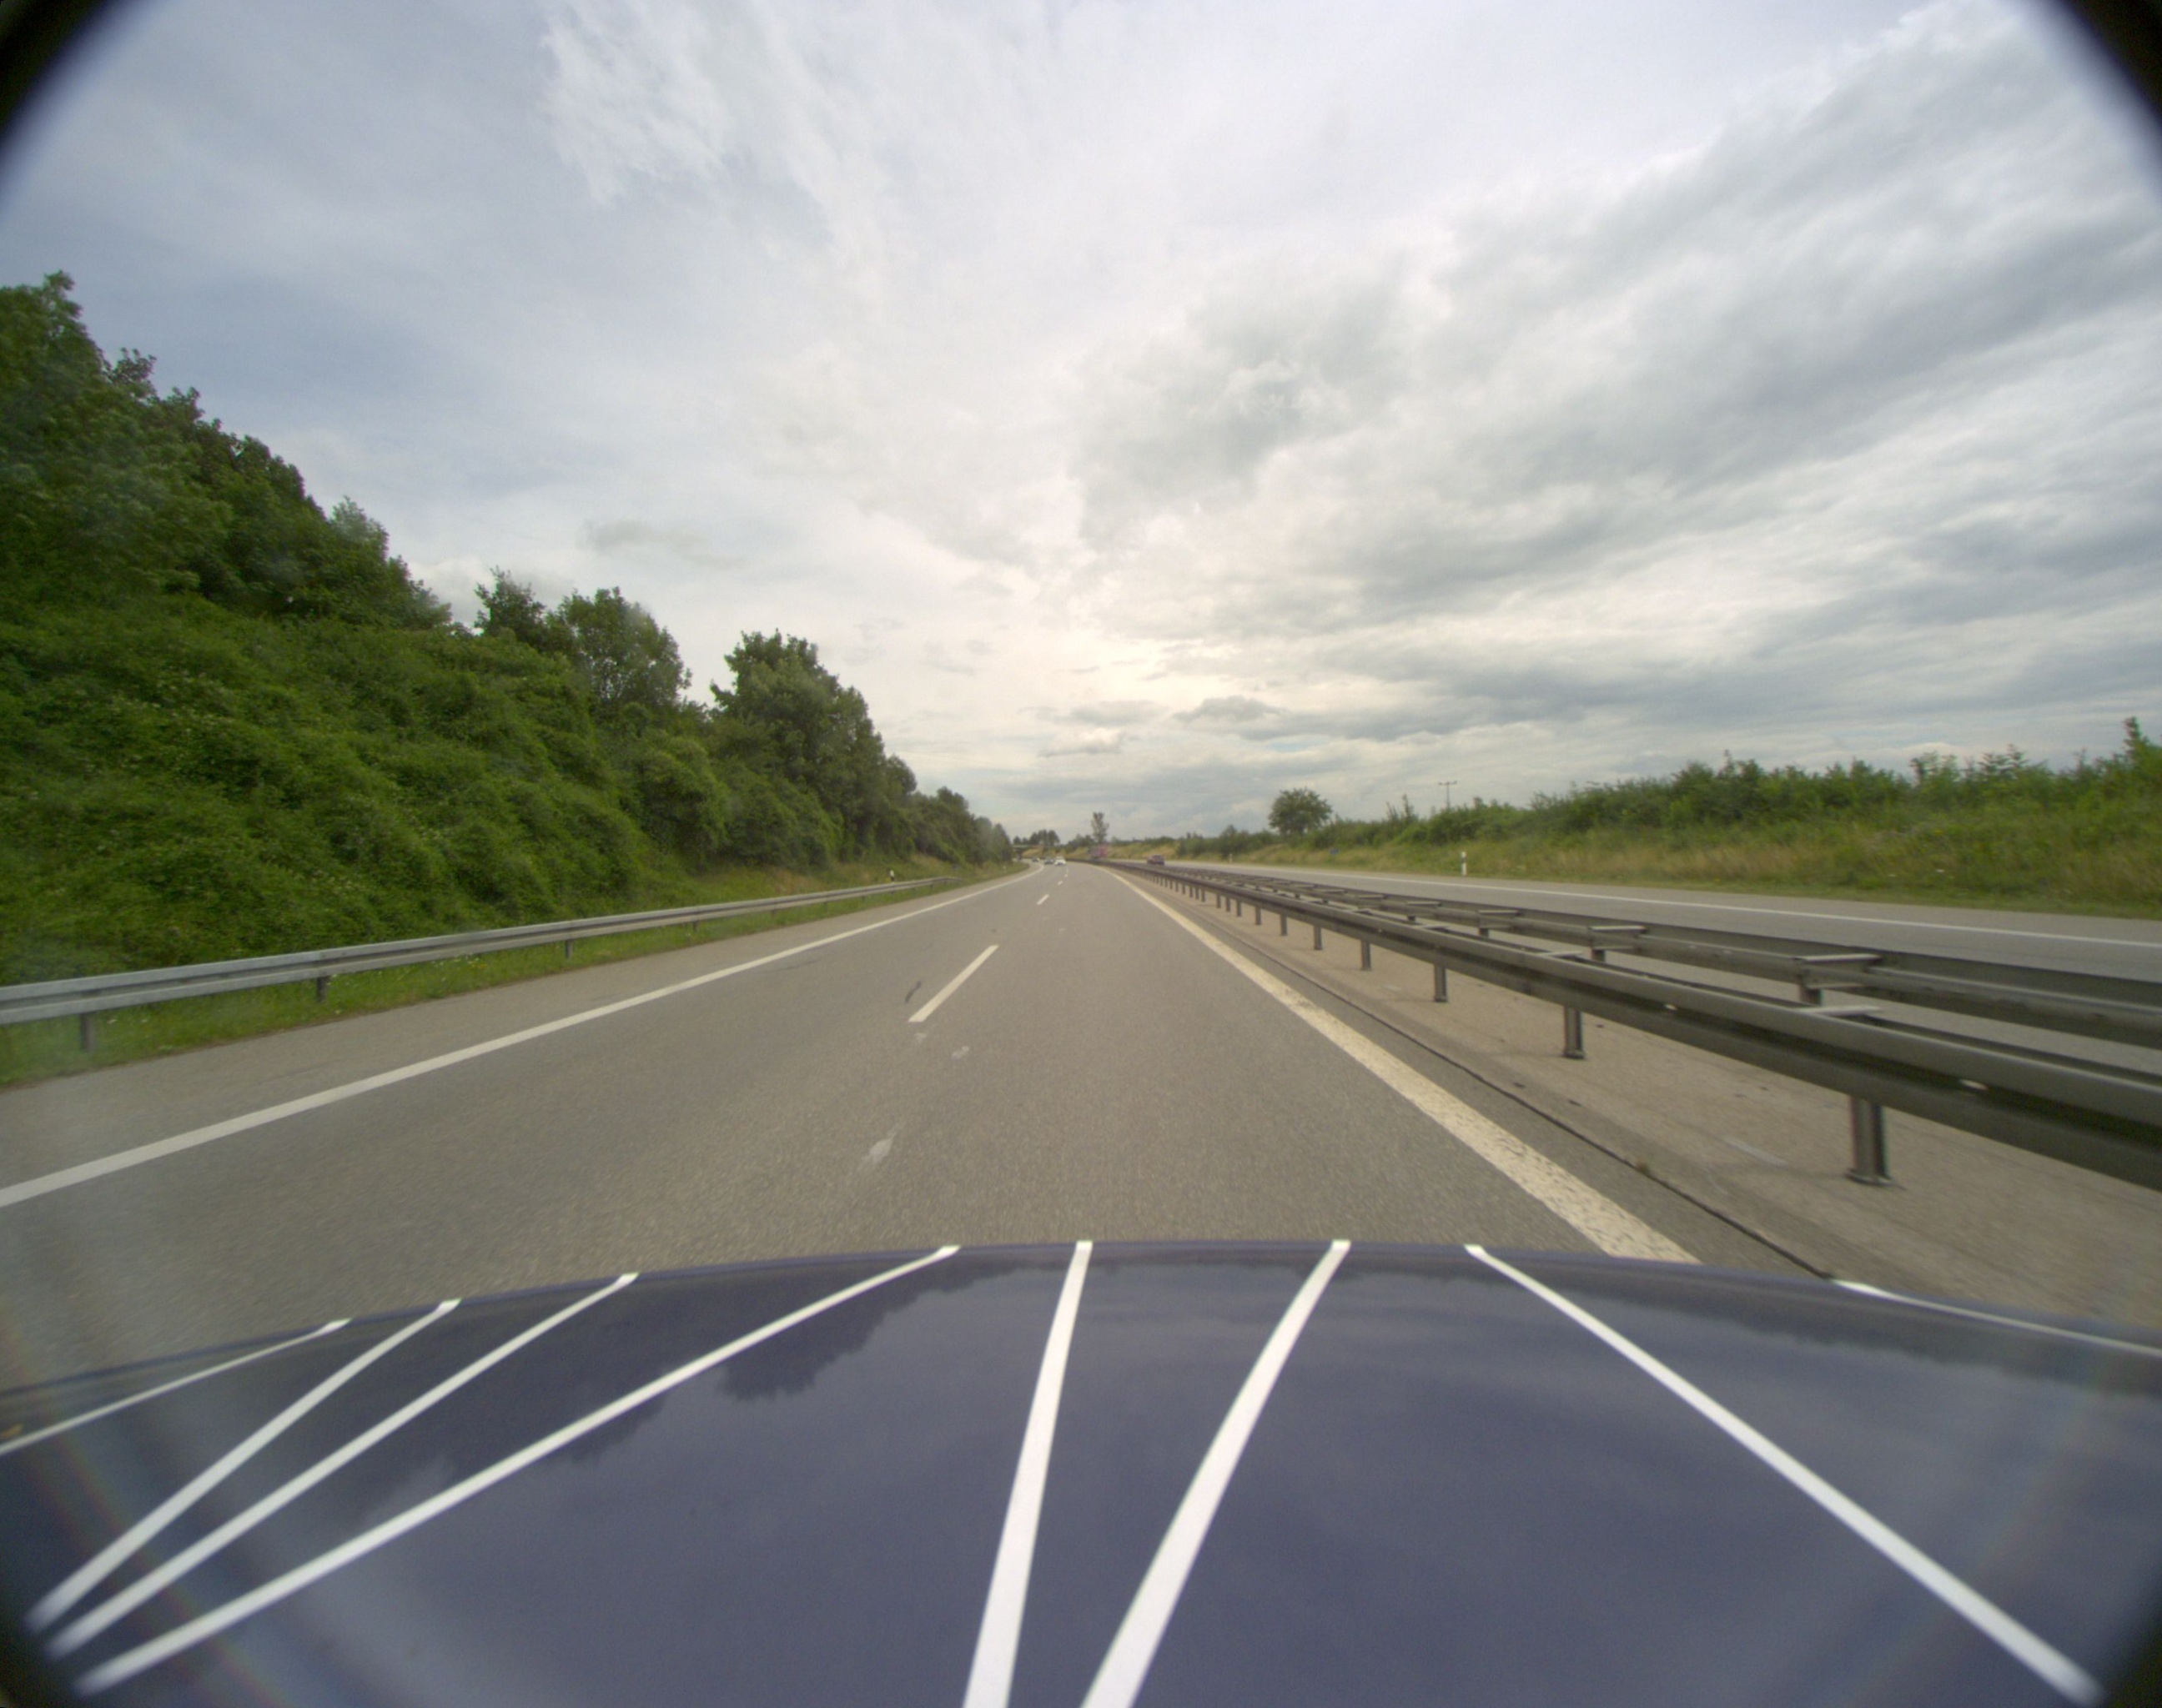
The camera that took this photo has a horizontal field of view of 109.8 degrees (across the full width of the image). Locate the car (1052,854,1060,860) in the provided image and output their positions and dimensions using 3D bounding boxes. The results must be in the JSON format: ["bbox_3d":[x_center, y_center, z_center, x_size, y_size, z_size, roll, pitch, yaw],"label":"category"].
[{"bbox_3d":[-6.716,0.810,201.877,1.776,1.474,4.695,-2,1,-4],"label":"car"}]

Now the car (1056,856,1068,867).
[{"bbox_3d":[-3.354,1.251,134.076,1.775,1.813,4.163,-2,1,-4],"label":"car"}]

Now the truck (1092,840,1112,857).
[{"bbox_3d":[5.434,-1.556,200.586,3.340,4.146,13.670,-3,1,-5],"label":"truck"}]

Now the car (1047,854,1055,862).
[{"bbox_3d":[-6.482,0.799,163.248,1.650,1.686,4.735,-2,1,-4],"label":"car"}]

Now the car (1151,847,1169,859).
[{"bbox_3d":[10.138,-0.159,98.028,1.710,1.345,4.938,-4,1,-1],"label":"car"}]
